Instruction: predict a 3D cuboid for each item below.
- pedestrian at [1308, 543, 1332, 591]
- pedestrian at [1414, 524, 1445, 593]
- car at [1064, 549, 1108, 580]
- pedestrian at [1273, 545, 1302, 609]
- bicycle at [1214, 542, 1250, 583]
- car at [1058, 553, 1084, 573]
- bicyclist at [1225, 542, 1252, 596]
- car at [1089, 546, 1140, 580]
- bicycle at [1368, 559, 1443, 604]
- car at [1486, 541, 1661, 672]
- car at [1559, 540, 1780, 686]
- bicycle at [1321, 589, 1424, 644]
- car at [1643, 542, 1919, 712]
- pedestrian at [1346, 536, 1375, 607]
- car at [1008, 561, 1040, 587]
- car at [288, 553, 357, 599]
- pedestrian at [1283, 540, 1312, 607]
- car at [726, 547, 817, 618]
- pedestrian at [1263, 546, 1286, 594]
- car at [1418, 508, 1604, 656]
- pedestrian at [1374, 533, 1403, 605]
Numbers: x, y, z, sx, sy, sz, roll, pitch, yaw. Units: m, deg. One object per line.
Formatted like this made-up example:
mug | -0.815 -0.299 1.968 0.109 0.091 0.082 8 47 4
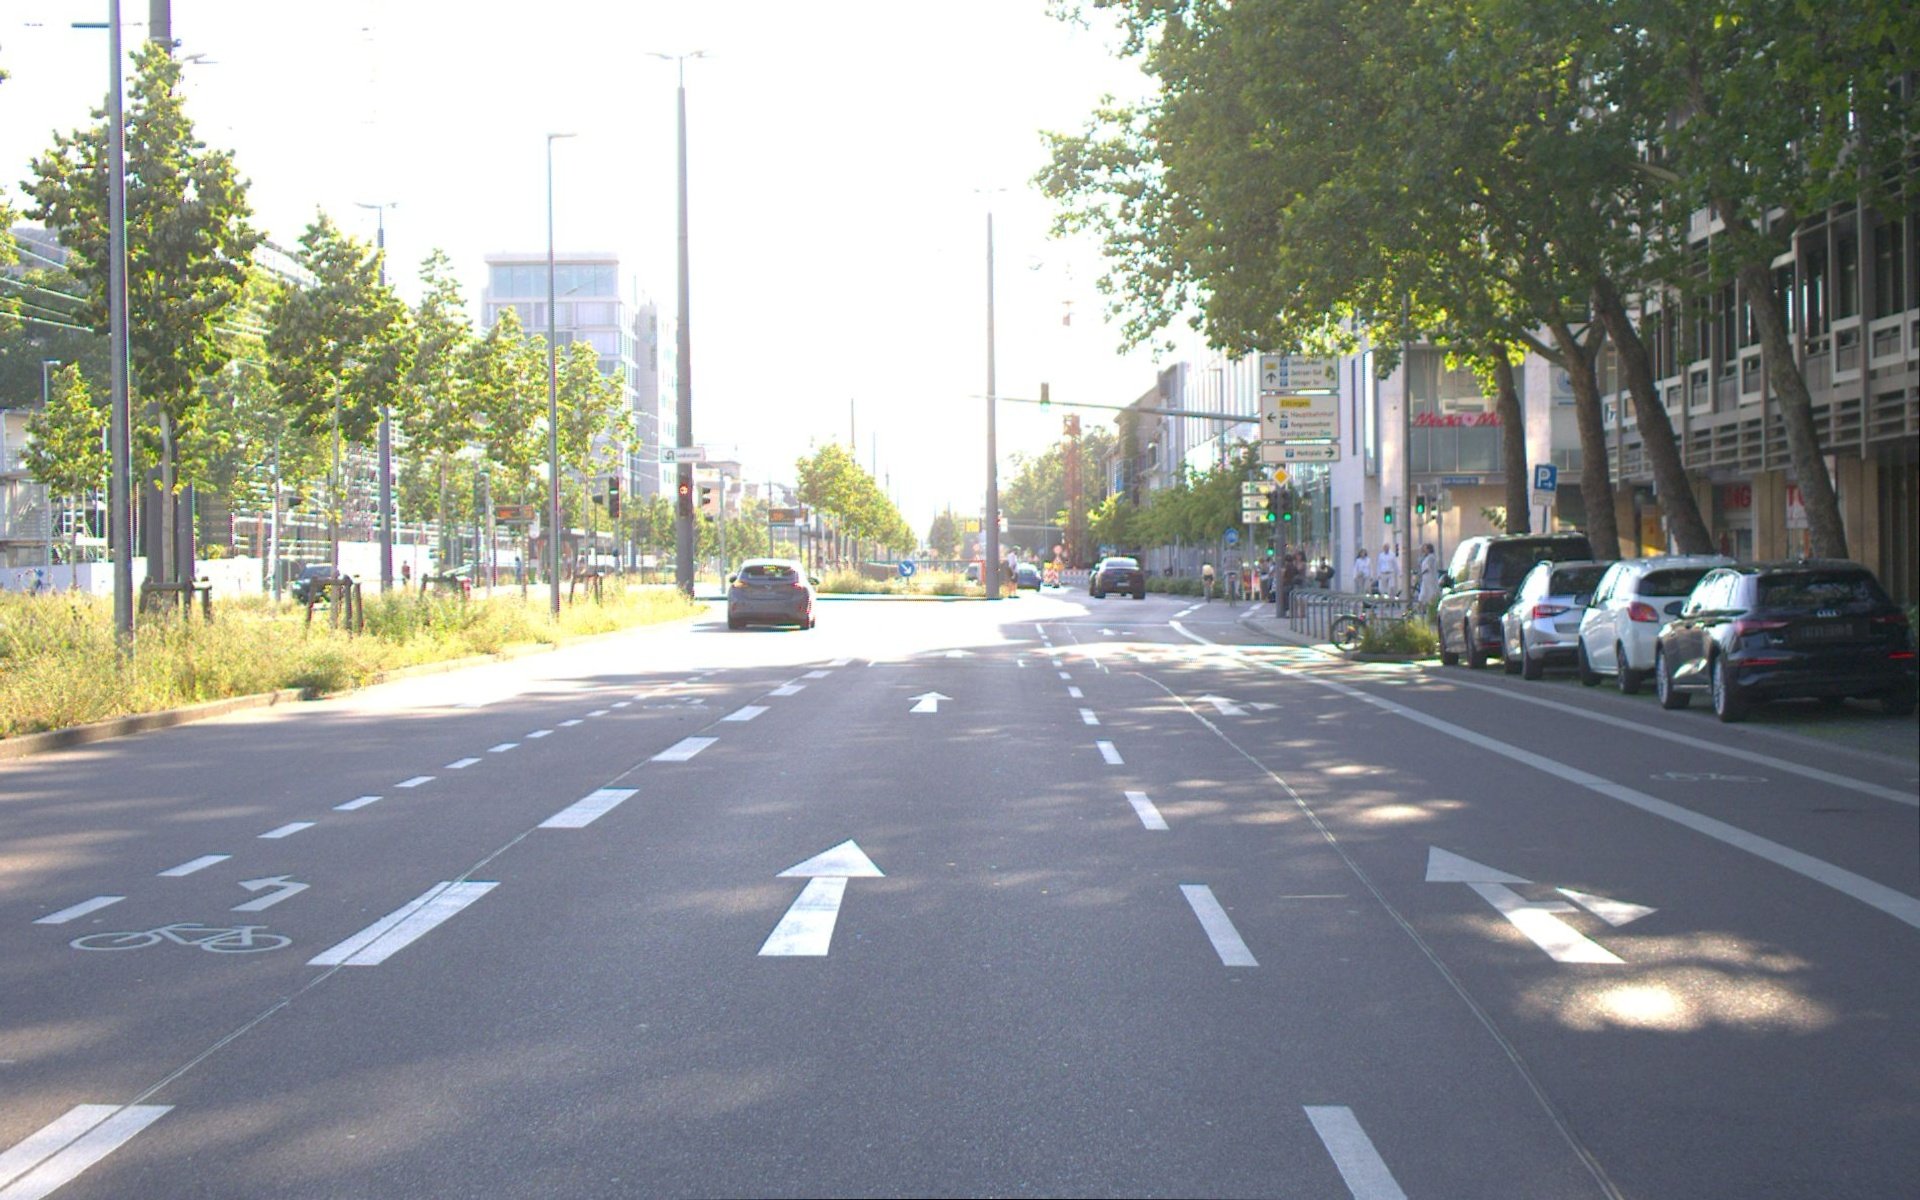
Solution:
pedestrian | 13.116 -1.196 125.265 0.817 1.728 0.790 0 1 4
pedestrian | 11.714 -1.041 85.796 0.634 1.697 0.570 -2 1 1
car | 6.167 -1.735 168.790 1.940 1.479 3.926 0 1 -1
pedestrian | 8.313 -0.583 87.343 0.634 1.602 0.570 -2 1 1
bicycle | 8.013 -1.114 101.155 0.800 1.200 2.263 0 1 11
car | 8.209 -2.753 254.041 1.703 1.423 3.926 0 1 -1
bicyclist | 8.197 -0.915 101.094 0.800 1.596 0.785 0 1 5
car | 6.636 -1.584 147.932 1.940 1.423 3.926 0 1 -1
bicycle | 11.260 -0.476 86.912 1.804 1.082 0.479 -2 1 2
car | 7.853 0.034 44.375 1.682 1.509 5.058 -3 1 5
car | 7.893 0.106 38.545 1.681 1.473 3.874 -3 1 1
bicycle | 7.033 0.277 58.545 1.692 0.864 0.572 -2 1 9
car | 7.681 0.202 32.264 1.706 1.413 4.276 -3 1 1
pedestrian | 11.803 -0.848 101.375 0.766 2.053 0.797 -2 1 7
car | 3.826 -1.560 205.841 1.759 1.479 3.850 0 1 -1
car | -25.303 -0.977 136.553 1.993 1.770 4.000 0 1 0
pedestrian | 8.650 -0.678 88.056 0.634 1.697 0.570 -2 1 1
car | -3.950 -0.390 72.513 1.776 1.423 4.000 1 1 -1
pedestrian | 11.459 -1.106 125.315 0.817 1.728 0.790 0 1 4
car | 7.990 -0.294 50.314 1.829 1.964 5.322 -3 1 1
pedestrian | 12.518 -0.916 100.477 0.766 2.053 0.797 -2 1 7
